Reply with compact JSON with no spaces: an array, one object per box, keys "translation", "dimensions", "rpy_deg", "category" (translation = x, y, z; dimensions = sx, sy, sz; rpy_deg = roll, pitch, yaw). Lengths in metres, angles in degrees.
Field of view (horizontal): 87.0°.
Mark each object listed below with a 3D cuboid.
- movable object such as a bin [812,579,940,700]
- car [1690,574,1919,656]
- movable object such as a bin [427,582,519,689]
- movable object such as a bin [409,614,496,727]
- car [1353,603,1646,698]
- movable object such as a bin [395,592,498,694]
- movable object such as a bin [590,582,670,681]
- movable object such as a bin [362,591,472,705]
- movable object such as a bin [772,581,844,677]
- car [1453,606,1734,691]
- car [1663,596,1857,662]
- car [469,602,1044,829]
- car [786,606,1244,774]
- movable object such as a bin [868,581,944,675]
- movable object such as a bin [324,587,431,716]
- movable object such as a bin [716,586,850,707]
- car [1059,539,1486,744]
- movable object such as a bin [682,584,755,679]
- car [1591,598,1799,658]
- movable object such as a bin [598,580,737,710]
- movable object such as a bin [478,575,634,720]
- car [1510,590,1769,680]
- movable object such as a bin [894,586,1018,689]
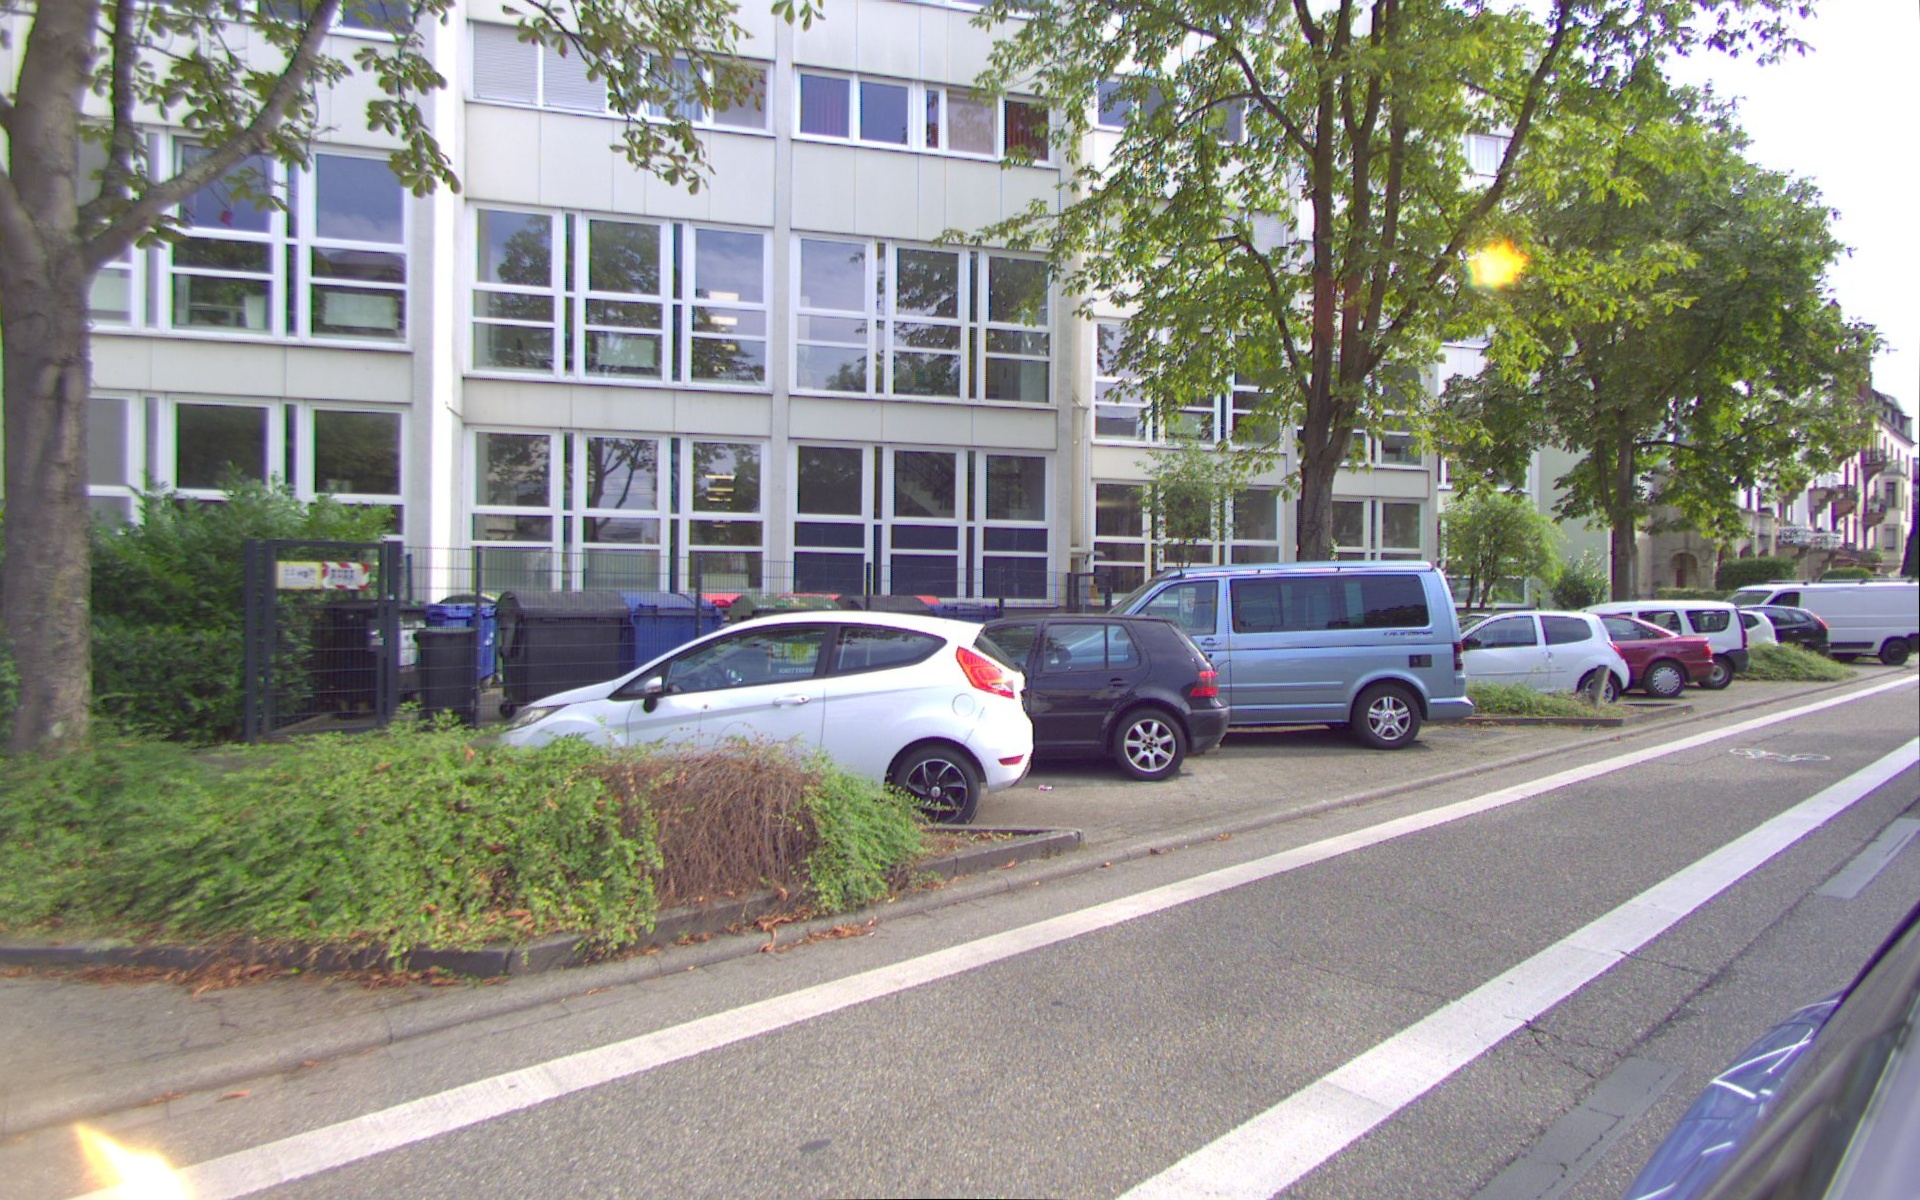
[{"translation":[-1.212,0.523,14.473],"dimensions":[1.328,1.616,1.335],"rpy_deg":[0,0,-36],"category":"movable object such as a bin"},{"translation":[23.933,0.383,28.250],"dimensions":[5.349,2.203,2.143],"rpy_deg":[0,0,9],"category":"car"},{"translation":[-7.572,0.523,15.818],"dimensions":[1.155,1.588,1.177],"rpy_deg":[0,0,-19],"category":"movable object such as a bin"},{"translation":[-5.382,0.715,10.727],"dimensions":[0.729,1.119,0.786],"rpy_deg":[0,0,-34],"category":"movable object such as a bin"},{"translation":[8.246,0.735,15.747],"dimensions":[3.580,1.347,1.766],"rpy_deg":[0,0,5],"category":"car"},{"translation":[-7.299,0.581,14.467],"dimensions":[1.155,1.387,1.177],"rpy_deg":[0,0,-19],"category":"movable object such as a bin"},{"translation":[-5.489,0.503,16.913],"dimensions":[1.150,1.588,1.182],"rpy_deg":[0,0,-12],"category":"movable object such as a bin"},{"translation":[-7.022,0.587,13.156],"dimensions":[1.095,1.409,1.065],"rpy_deg":[0,0,-19],"category":"movable object such as a bin"},{"translation":[-2.638,0.481,17.451],"dimensions":[1.150,1.588,1.182],"rpy_deg":[0,0,-12],"category":"movable object such as a bin"},{"translation":[10.884,0.794,17.649],"dimensions":[3.708,1.355,1.810],"rpy_deg":[0,0,9],"category":"car"},{"translation":[20.734,0.699,26.419],"dimensions":[3.605,1.609,1.753],"rpy_deg":[0,0,24],"category":"car"},{"translation":[-1.310,0.734,7.384],"dimensions":[3.792,1.410,1.632],"rpy_deg":[0,0,4],"category":"car"},{"translation":[0.497,0.776,9.561],"dimensions":[3.902,1.405,1.812],"rpy_deg":[0,-1,5],"category":"car"},{"translation":[-0.969,0.467,17.753],"dimensions":[1.150,1.588,1.182],"rpy_deg":[0,0,-12],"category":"movable object such as a bin"},{"translation":[-6.787,0.565,11.841],"dimensions":[0.893,1.425,1.026],"rpy_deg":[0,0,-19],"category":"movable object such as a bin"},{"translation":[-2.386,0.578,13.618],"dimensions":[1.328,1.521,1.335],"rpy_deg":[0,0,-36],"category":"movable object such as a bin"},{"translation":[3.306,0.406,11.498],"dimensions":[4.268,2.090,1.998],"rpy_deg":[0,0,5],"category":"car"},{"translation":[-4.056,0.508,17.056],"dimensions":[1.150,1.533,1.182],"rpy_deg":[0,0,-12],"category":"movable object such as a bin"},{"translation":[17.388,0.642,24.085],"dimensions":[3.580,1.347,1.766],"rpy_deg":[0,0,5],"category":"car"},{"translation":[-3.694,0.523,12.739],"dimensions":[1.312,1.523,1.335],"rpy_deg":[0,0,-36],"category":"movable object such as a bin"},{"translation":[-4.685,0.500,11.713],"dimensions":[1.389,1.549,1.330],"rpy_deg":[0,0,-36],"category":"movable object such as a bin"},{"translation":[13.003,0.622,19.587],"dimensions":[3.708,1.638,1.810],"rpy_deg":[0,0,9],"category":"car"},{"translation":[-0.070,0.532,15.486],"dimensions":[1.374,1.477,1.335],"rpy_deg":[0,0,-36],"category":"movable object such as a bin"}]
